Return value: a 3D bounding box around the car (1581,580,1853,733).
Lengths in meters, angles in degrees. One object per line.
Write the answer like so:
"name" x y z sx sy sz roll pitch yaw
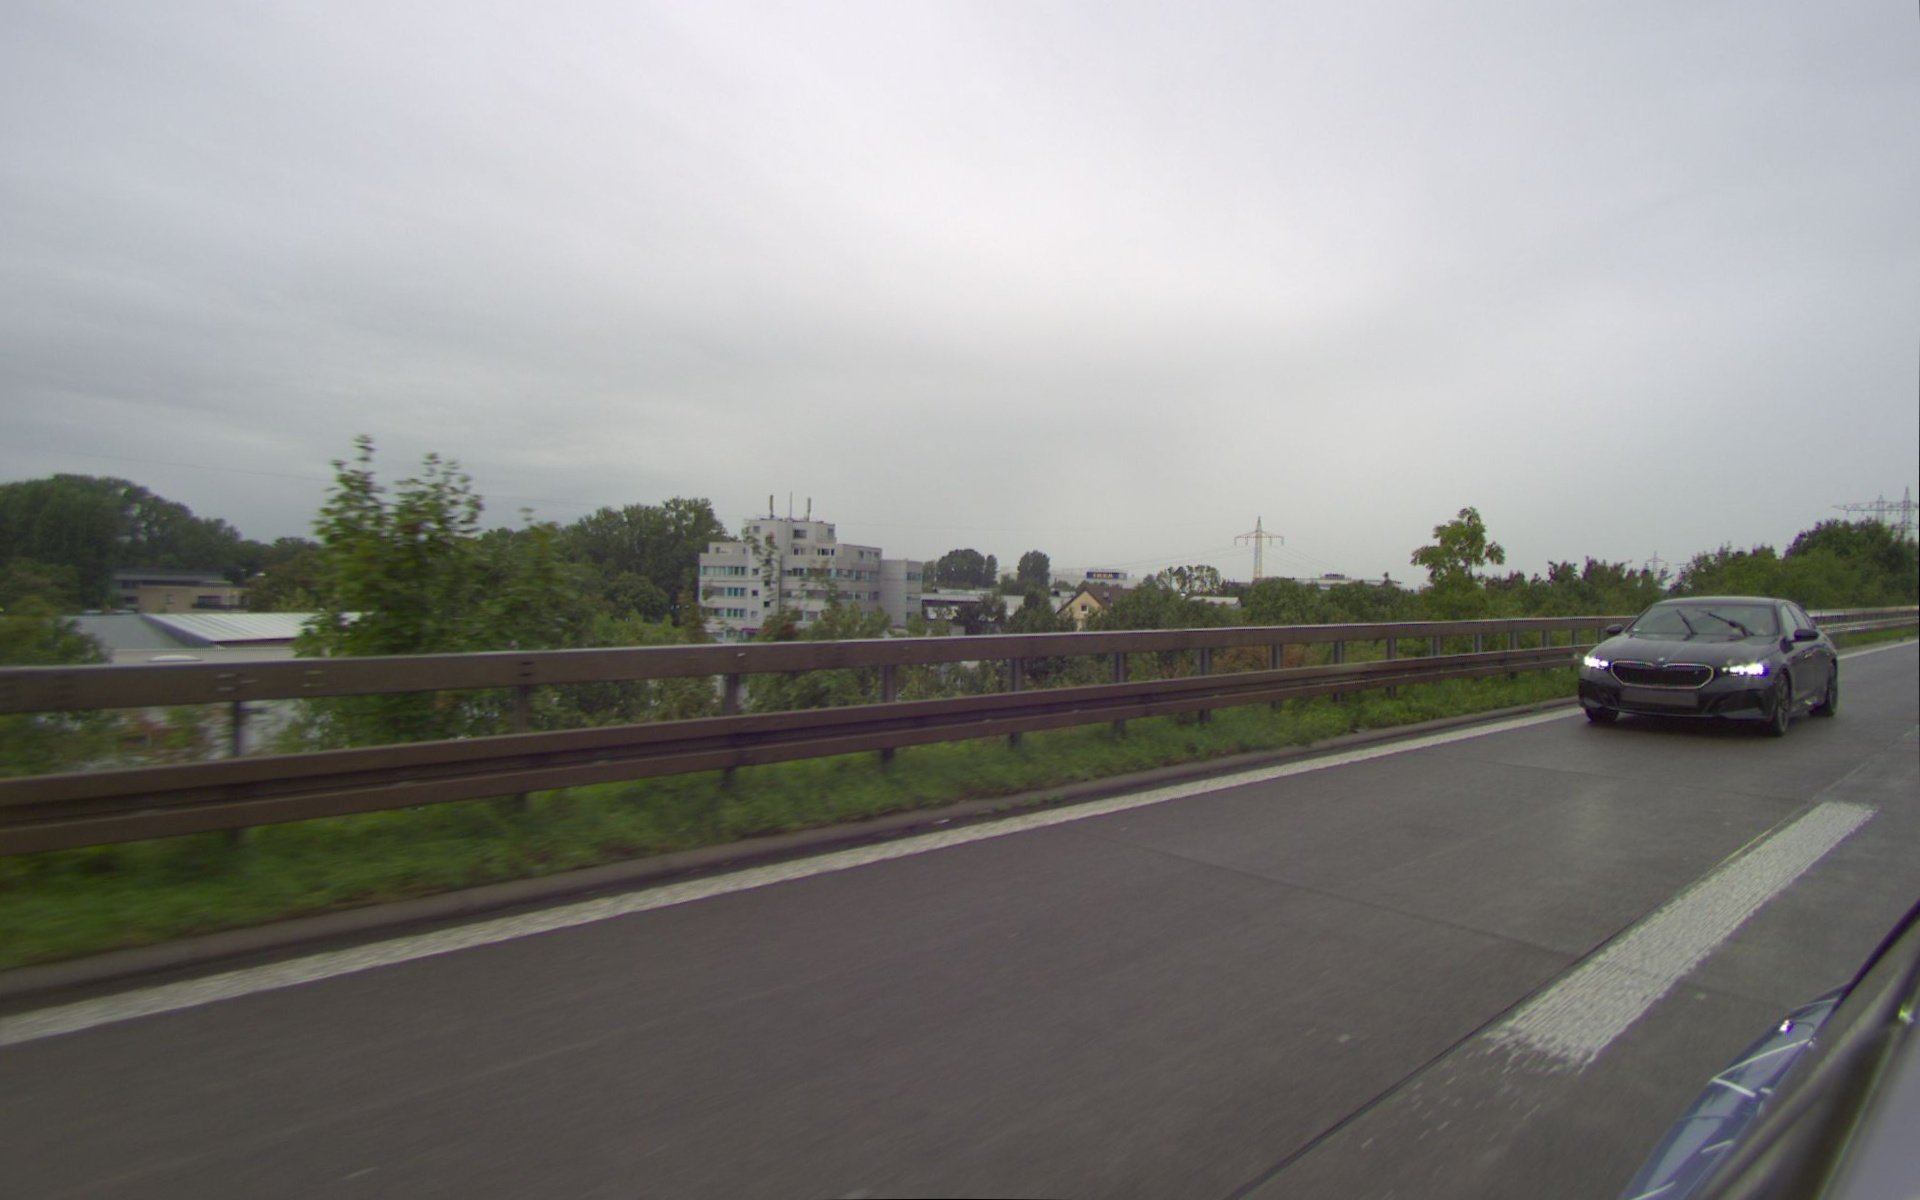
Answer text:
"car" 9.322 0.600 12.347 4.130 1.560 1.860 1 -1 -42
